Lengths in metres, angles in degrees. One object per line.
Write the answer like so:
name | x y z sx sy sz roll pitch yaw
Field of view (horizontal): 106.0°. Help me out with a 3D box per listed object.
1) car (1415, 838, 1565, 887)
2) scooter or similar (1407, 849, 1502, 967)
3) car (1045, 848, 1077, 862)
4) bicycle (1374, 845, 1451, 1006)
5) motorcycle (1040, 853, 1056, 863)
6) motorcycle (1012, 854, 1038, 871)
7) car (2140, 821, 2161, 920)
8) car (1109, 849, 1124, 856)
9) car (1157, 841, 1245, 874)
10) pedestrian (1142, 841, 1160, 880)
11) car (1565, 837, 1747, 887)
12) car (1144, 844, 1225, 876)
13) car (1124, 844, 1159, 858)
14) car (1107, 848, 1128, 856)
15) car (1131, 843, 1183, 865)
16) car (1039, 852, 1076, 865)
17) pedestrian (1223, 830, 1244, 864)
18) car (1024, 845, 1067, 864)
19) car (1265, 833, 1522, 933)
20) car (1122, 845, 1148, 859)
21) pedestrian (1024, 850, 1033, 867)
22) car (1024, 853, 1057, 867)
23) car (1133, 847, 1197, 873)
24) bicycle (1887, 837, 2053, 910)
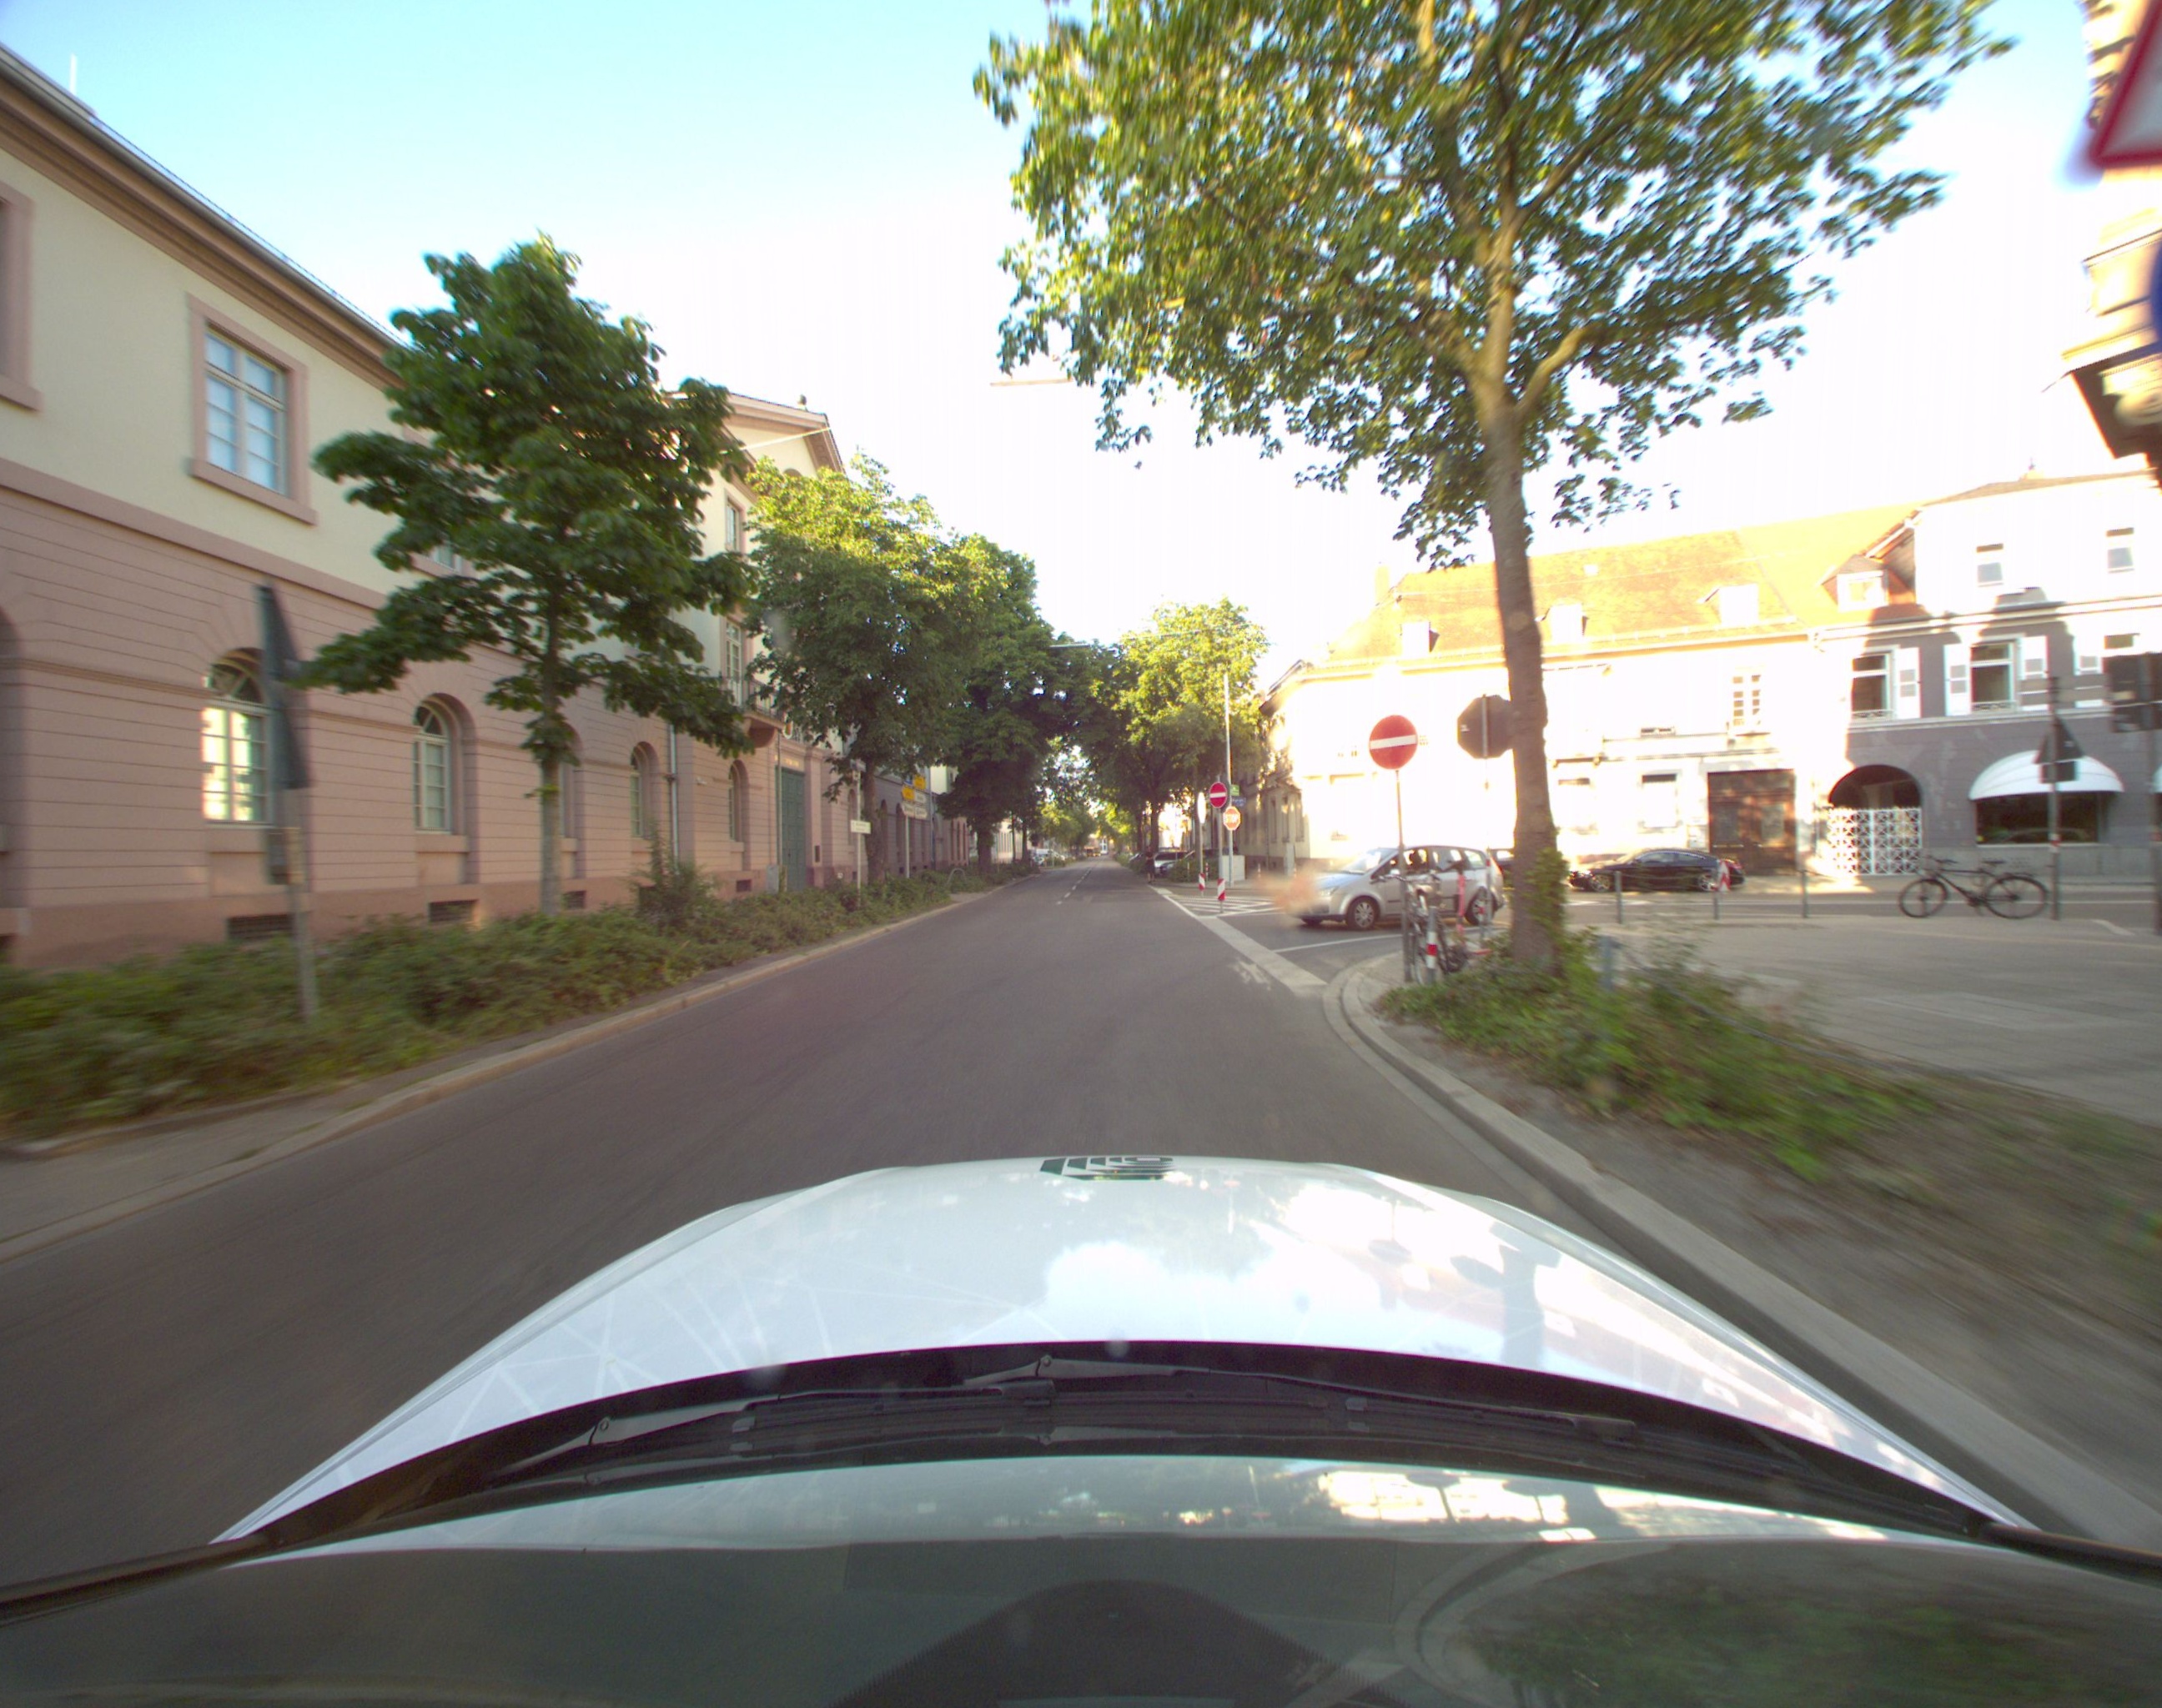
car | 13.814 0.292 27.638 4.368 1.542 1.878 -1 0 27
scooter or similar | 4.305 0.580 9.352 1.281 1.243 0.500 -2 0 -42
car | -3.284 0.101 135.489 5.044 2.083 2.265 -2 0 2
bicycle | 3.081 0.615 7.647 0.414 1.372 1.293 -2 0 13
motorcycle | -3.446 0.426 84.558 1.630 1.068 0.656 -1 0 1
motorcycle | -4.388 0.676 63.956 1.912 1.258 0.591 -2 0 1
car | 16.542 0.251 11.450 4.301 1.413 1.692 3 -3 -41
car | 9.990 -0.370 231.246 3.964 1.837 2.005 -2 0 8
car | 5.852 0.150 40.054 4.094 1.490 1.850 -2 1 0
pedestrian | 3.393 0.298 39.588 0.790 1.868 0.753 -1 0 6
car | 18.076 0.249 25.862 4.461 1.369 1.786 -1 3 25
car | 5.674 0.311 45.028 4.177 1.480 1.853 -3 0 1
car | 8.020 -0.397 109.104 4.575 1.761 2.223 -2 0 2
car | 7.361 -0.343 163.830 3.974 1.442 1.697 -2 0 -1
car | 6.143 -0.028 66.151 4.001 1.623 1.780 -2 0 0
car | -3.417 0.655 119.228 5.041 1.617 2.266 -2 0 4
pedestrian | 7.826 -0.371 41.772 0.939 1.706 0.783 -2 1 3
car | -4.298 0.023 99.165 5.046 2.083 2.264 -2 0 1
car | 5.948 0.485 15.614 4.349 1.654 1.875 -2 0 -17
car | 8.443 -0.296 127.992 3.968 2.013 2.003 -1 0 4
pedestrian | -4.431 0.378 68.959 0.652 1.395 0.607 -1 -1 1
car | -4.610 0.663 93.776 3.716 1.508 1.872 -2 0 -2
car | 5.456 0.383 53.327 4.001 1.480 1.780 -2 0 0
bicycle | 14.890 0.329 13.729 1.810 1.135 0.833 -2 -2 44
